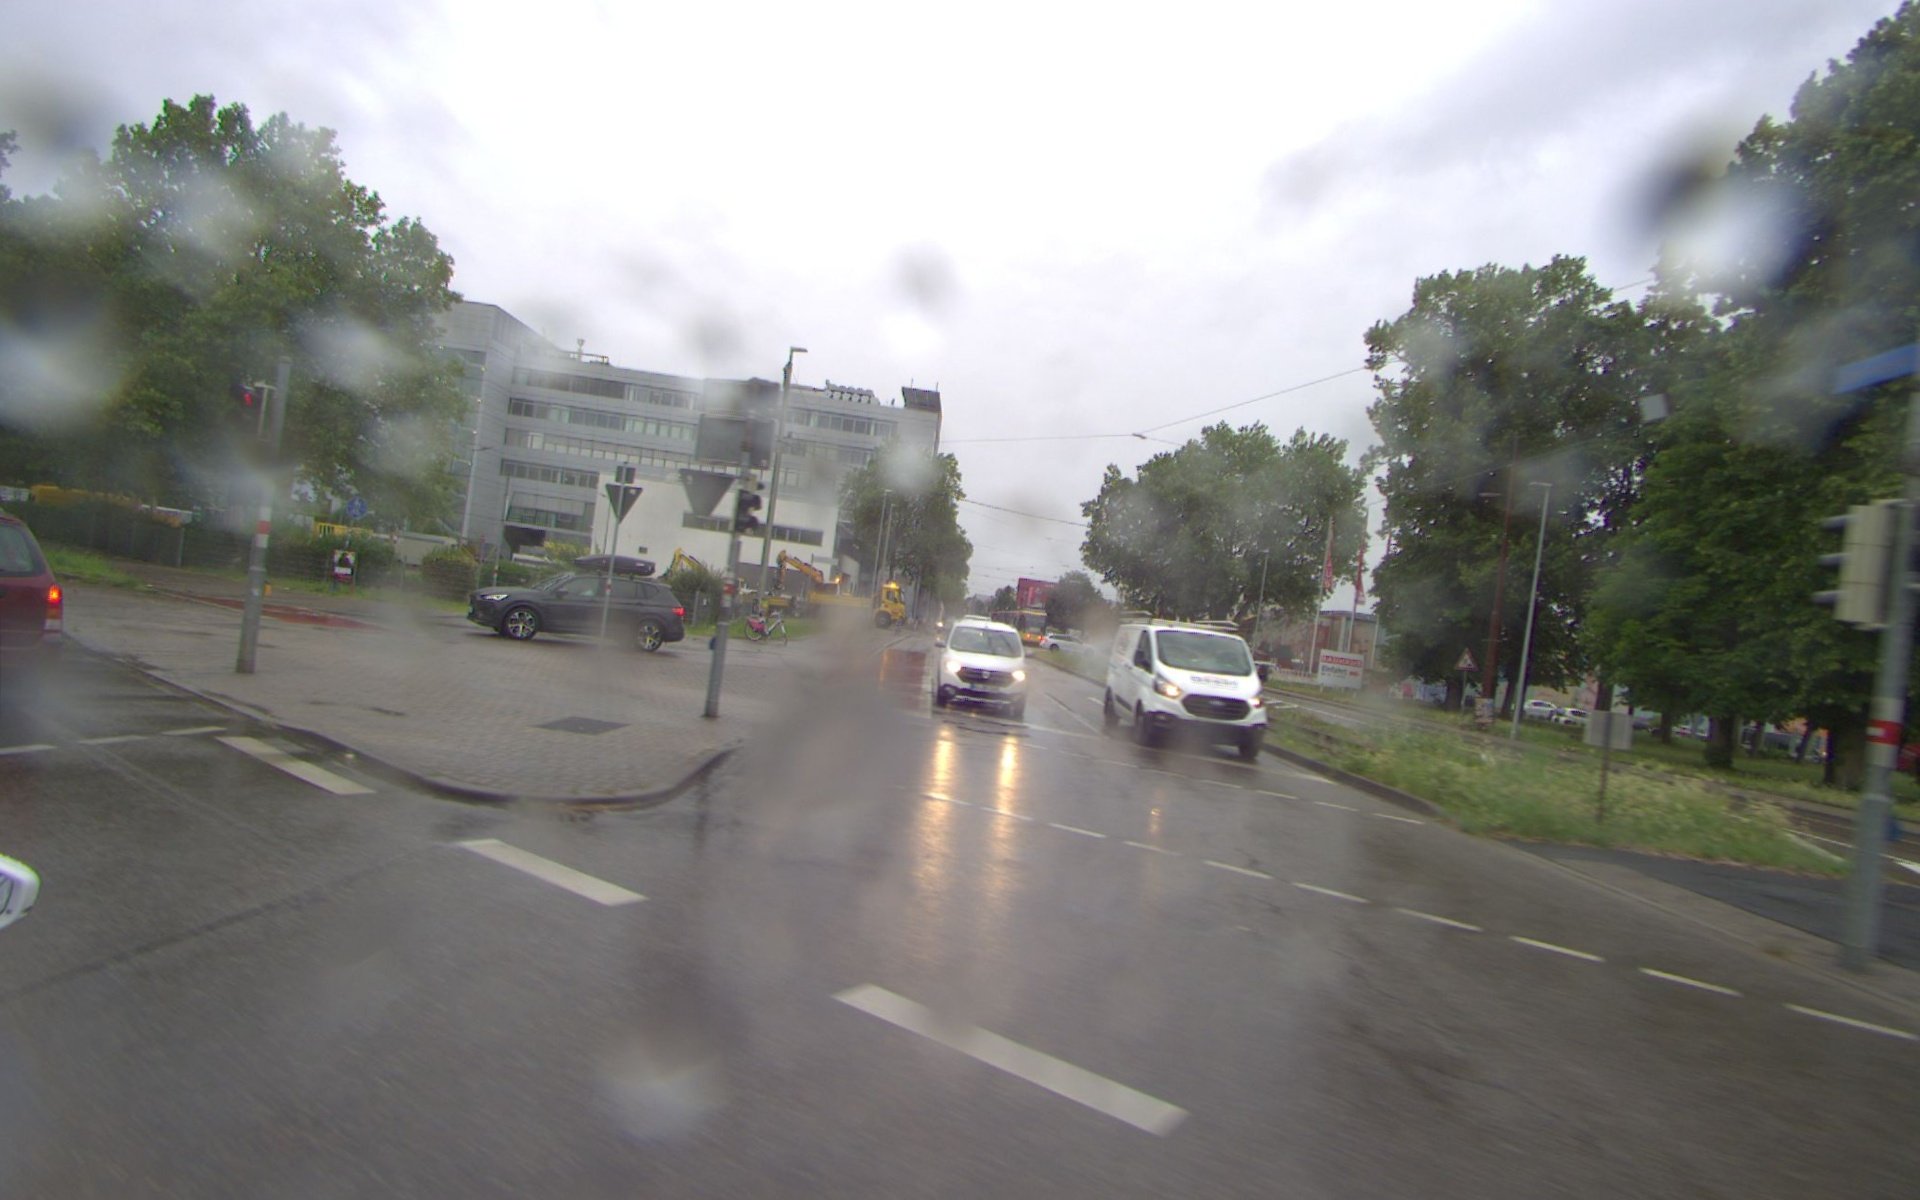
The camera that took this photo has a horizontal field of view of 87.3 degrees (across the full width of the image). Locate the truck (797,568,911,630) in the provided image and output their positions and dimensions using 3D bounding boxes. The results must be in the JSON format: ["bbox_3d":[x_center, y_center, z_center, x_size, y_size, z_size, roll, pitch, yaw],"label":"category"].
[{"bbox_3d":[-7.812,-0.043,74.975,7.745,3.549,3.328,8,0,-1],"label":"truck"}]

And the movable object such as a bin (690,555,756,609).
[{"bbox_3d":[-15.659,-1.169,66.647,3.270,3.032,3.328,7,0,-1],"label":"movable object such as a bin"}]

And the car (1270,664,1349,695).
[{"bbox_3d":[29.986,6.811,86.538,5.852,1.752,2.278,7,-1,0],"label":"car"}]

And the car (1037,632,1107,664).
[{"bbox_3d":[8.396,3.614,75.586,4.966,1.672,1.884,8,-3,3],"label":"car"}]

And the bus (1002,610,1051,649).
[{"bbox_3d":[5.946,2.579,91.669,2.485,3.072,8.520,7,-1,-7],"label":"bus"}]

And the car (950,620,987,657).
[{"bbox_3d":[0.599,2.622,66.938,1.963,2.035,5.374,8,-3,4],"label":"car"}]

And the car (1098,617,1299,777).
[{"bbox_3d":[3.889,1.510,17.356,1.964,2.150,4.689,7,-1,-2],"label":"car"}]

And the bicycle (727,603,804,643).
[{"bbox_3d":[-6.461,0.767,33.559,2.293,1.059,0.841,8,-1,-36],"label":"bicycle"}]

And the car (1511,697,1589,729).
[{"bbox_3d":[47.765,9.137,81.527,4.941,1.752,1.966,7,0,1],"label":"car"}]

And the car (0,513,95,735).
[{"bbox_3d":[-8.312,-0.063,7.595,3.672,1.481,1.646,7,-3,34],"label":"car"}]

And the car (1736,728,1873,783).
[{"bbox_3d":[43.208,7.948,51.547,4.942,1.858,2.192,8,0,1],"label":"car"}]

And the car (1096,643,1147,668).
[{"bbox_3d":[13.203,4.502,82.226,3.748,1.507,1.679,8,-2,-2],"label":"car"}]

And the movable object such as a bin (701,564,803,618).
[{"bbox_3d":[-15.464,-0.626,75.138,6.599,3.032,3.328,8,0,-1],"label":"movable object such as a bin"}]

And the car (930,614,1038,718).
[{"bbox_3d":[0.446,1.244,20.278,1.743,1.640,4.383,8,-1,1],"label":"car"}]

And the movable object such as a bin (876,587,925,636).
[{"bbox_3d":[-4.882,0.982,83.632,3.267,3.549,6.322,7,-1,0],"label":"movable object such as a bin"}]

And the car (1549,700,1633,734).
[{"bbox_3d":[47.483,8.776,75.805,4.941,1.752,1.966,7,0,1],"label":"car"}]

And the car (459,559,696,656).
[{"bbox_3d":[-8.602,0.195,22.813,4.605,1.542,1.783,9,-1,-35],"label":"car"}]

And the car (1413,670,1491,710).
[{"bbox_3d":[36.992,6.748,75.662,4.669,2.239,1.966,7,0,1],"label":"car"}]
